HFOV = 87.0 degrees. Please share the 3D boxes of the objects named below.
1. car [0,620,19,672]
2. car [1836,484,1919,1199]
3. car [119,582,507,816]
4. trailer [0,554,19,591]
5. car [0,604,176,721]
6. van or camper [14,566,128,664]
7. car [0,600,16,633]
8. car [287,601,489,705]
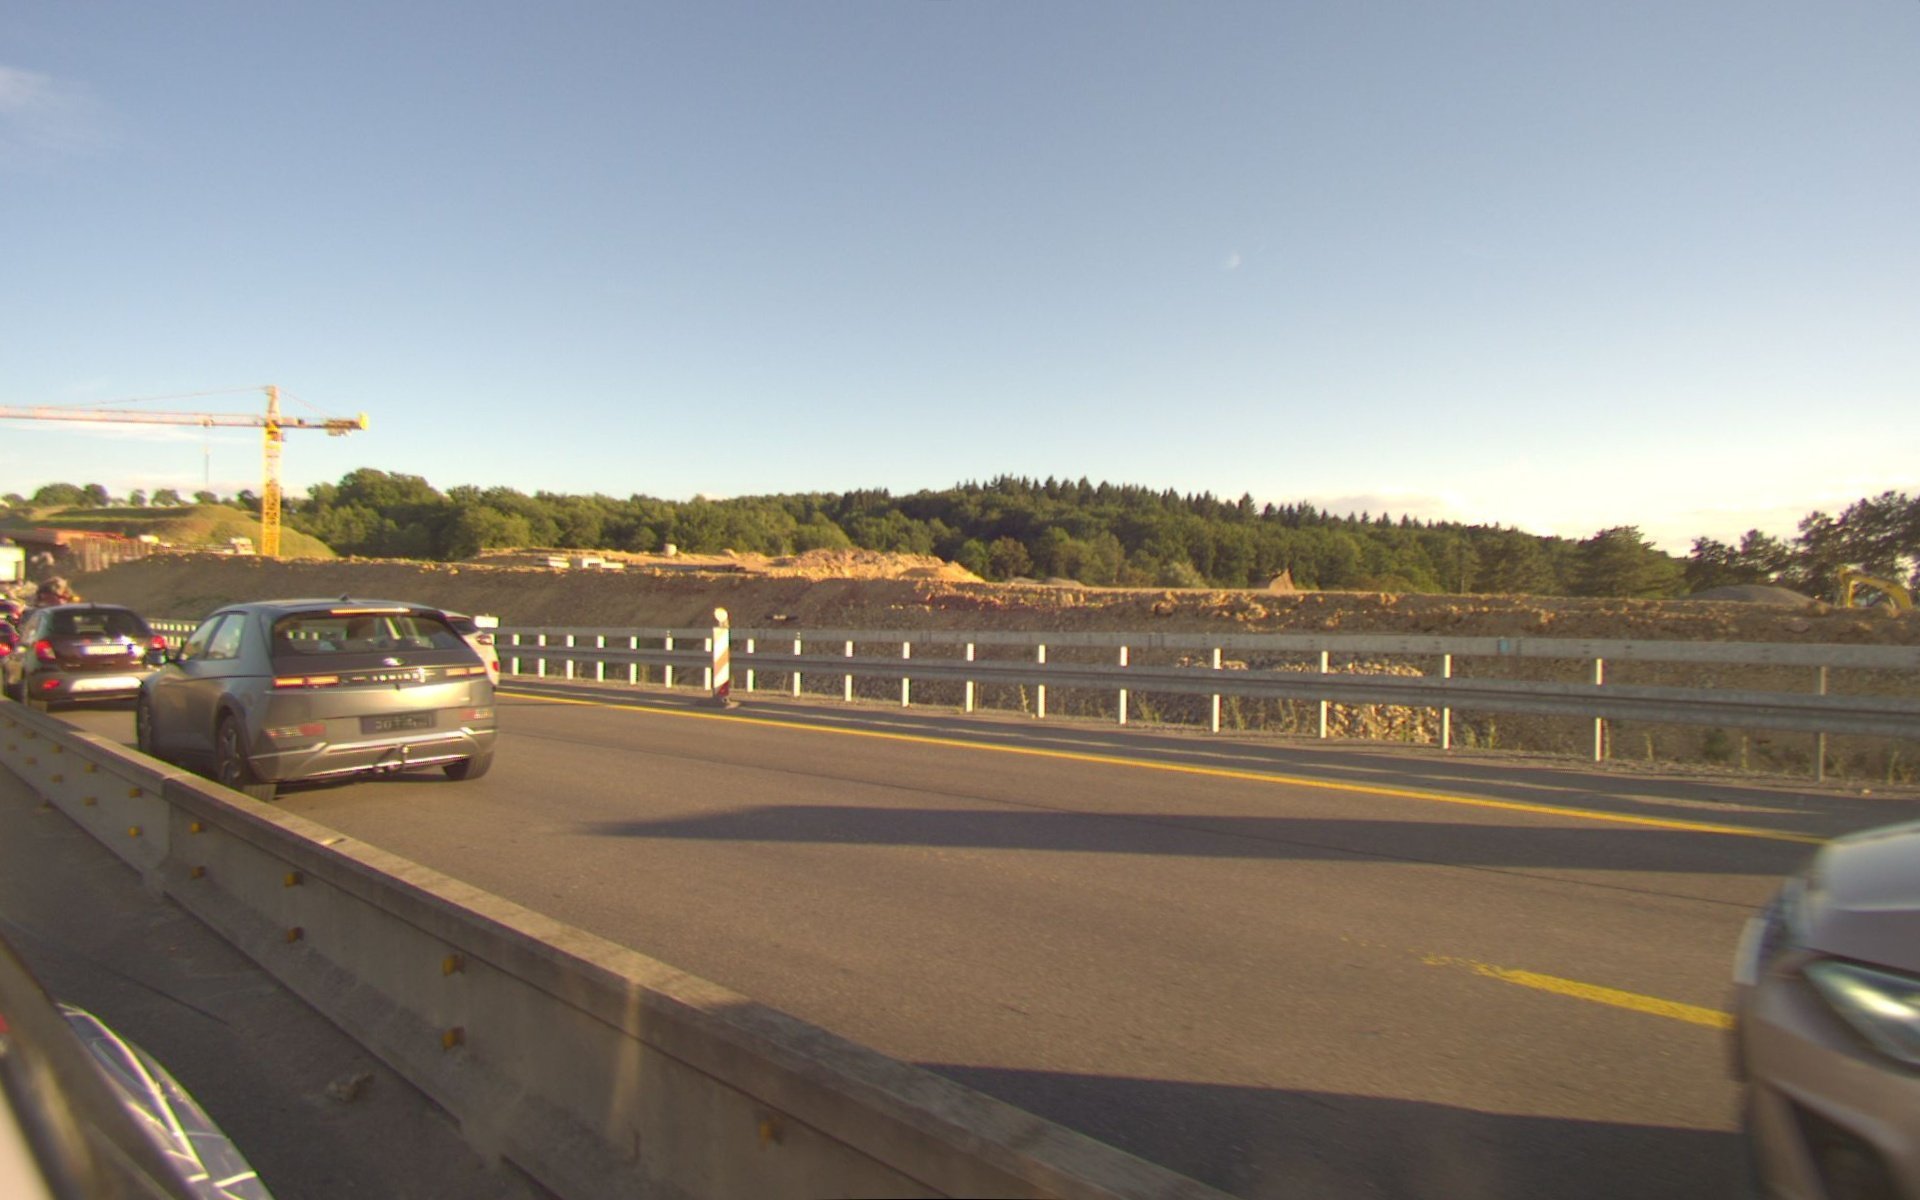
[{"bbox_3d":[-29.648,1.362,30.218,4.703,1.474,1.797,-1,-1,41],"label":"car"},{"bbox_3d":[3.378,0.612,0.803,3.997,1.546,1.749,0,1,40],"label":"car"},{"bbox_3d":[-6.000,0.700,9.113,4.703,1.596,1.724,-1,-1,41],"label":"car"},{"bbox_3d":[-118.413,-3.493,125.247,2.501,4.245,13.945,-1,3,-44],"label":"trailer"},{"bbox_3d":[-14.541,0.921,16.548,4.526,1.652,1.809,-1,0,40],"label":"car"},{"bbox_3d":[-35.222,0.584,39.986,7.409,3.525,2.432,-1,-1,41],"label":"van or camper"},{"bbox_3d":[-54.395,0.901,56.588,4.439,1.778,1.973,0,0,42],"label":"car"},{"bbox_3d":[-9.913,0.831,17.401,4.290,1.580,1.674,-1,-1,40],"label":"car"}]
